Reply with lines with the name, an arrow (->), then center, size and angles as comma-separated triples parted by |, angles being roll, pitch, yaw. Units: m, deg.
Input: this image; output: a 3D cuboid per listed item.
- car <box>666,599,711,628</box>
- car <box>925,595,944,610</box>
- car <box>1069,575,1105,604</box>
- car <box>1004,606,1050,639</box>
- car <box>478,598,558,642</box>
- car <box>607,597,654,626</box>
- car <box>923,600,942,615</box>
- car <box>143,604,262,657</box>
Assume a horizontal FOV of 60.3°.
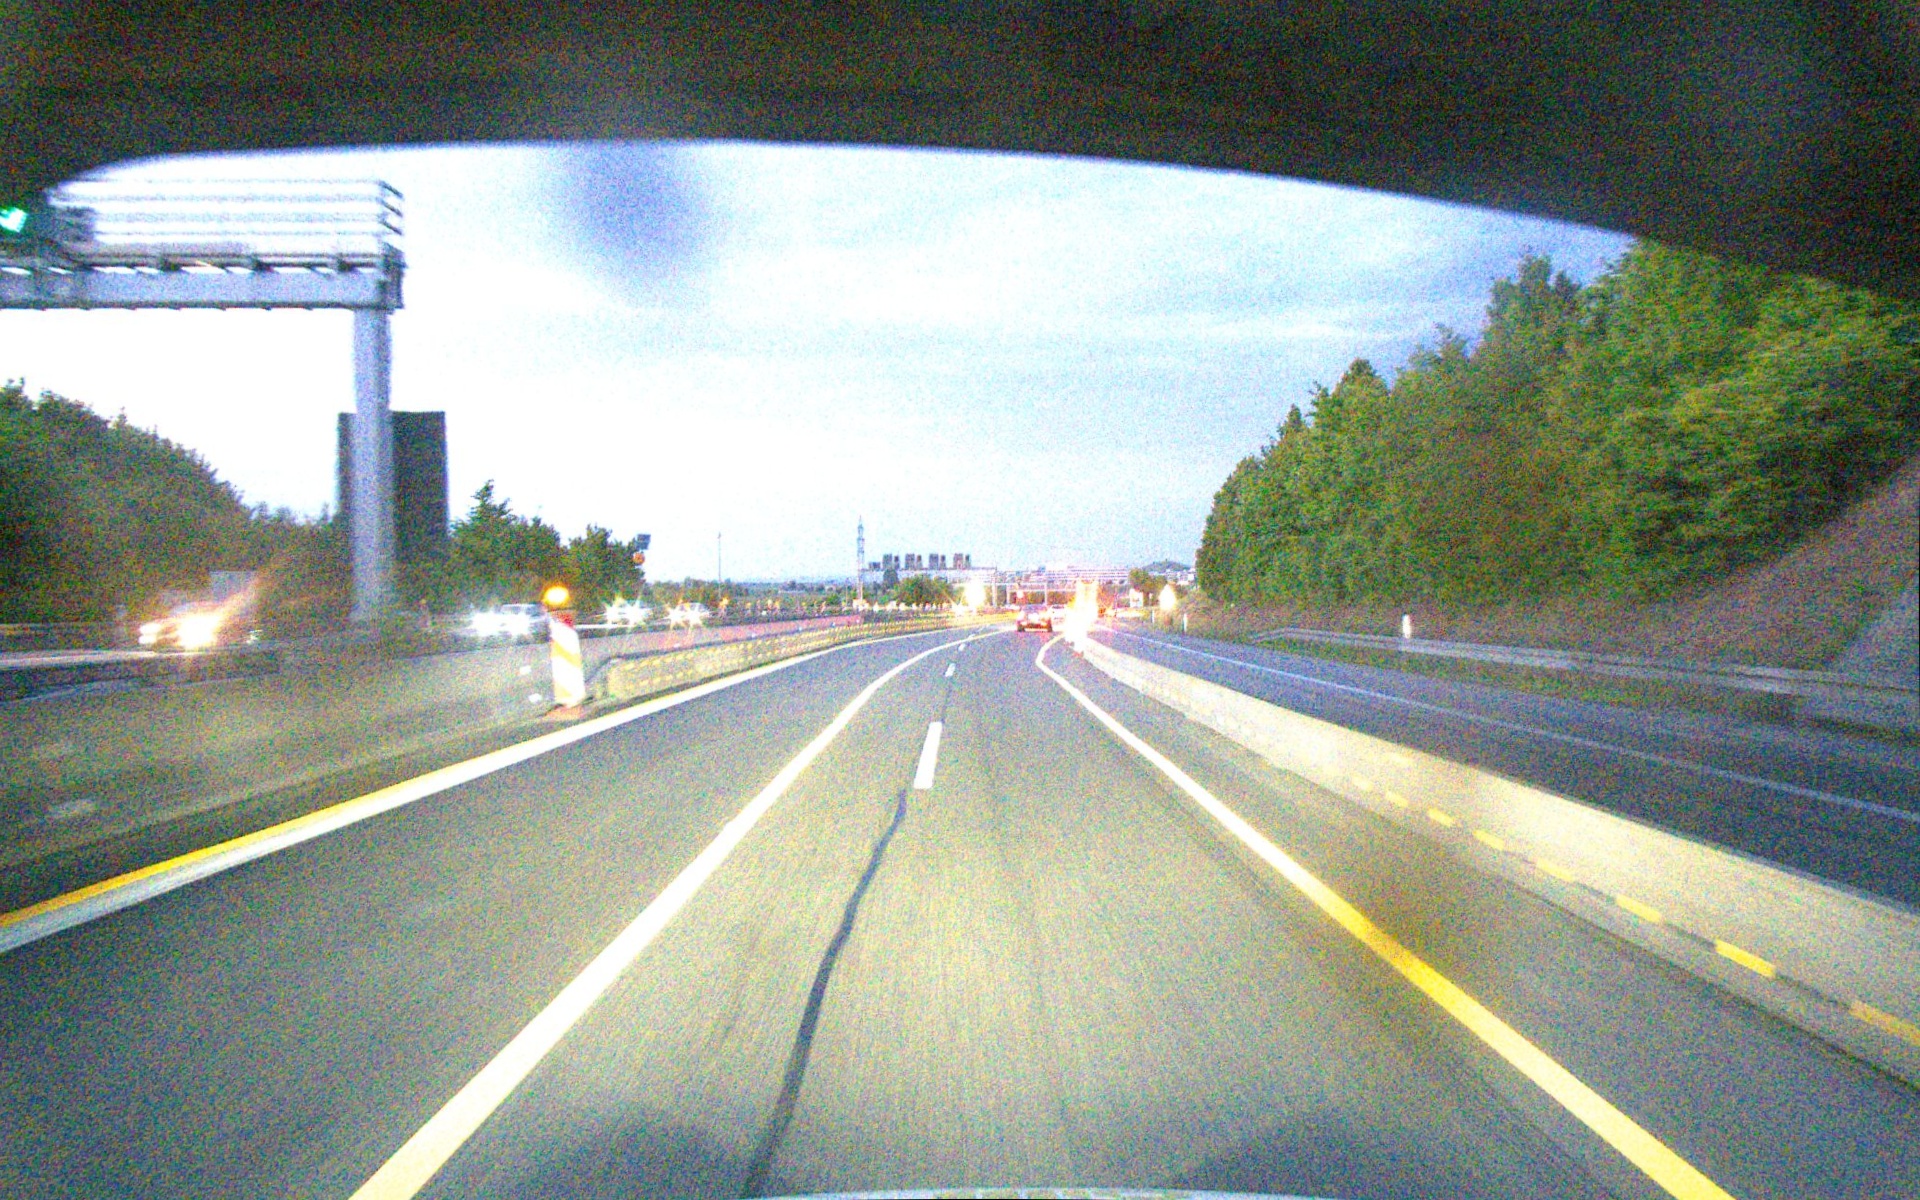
car -> -17.117, 0.842, 104.535 | 1.792, 1.690, 4.843 | 2, 0, 2
car -> -3.224, 0.329, 206.944 | 1.951, 1.860, 4.002 | 2, 0, 4
car -> 15.642, -1.264, 204.492 | 3.533, 3.455, 8.010 | 2, 0, -2
car -> 3.544, 1.161, 87.958 | 2.219, 1.649, 4.000 | 2, 0, 0
car -> -18.422, 0.818, 69.110 | 1.792, 1.690, 4.843 | 2, 0, 2
car -> -20.774, 0.724, 104.410 | 1.867, 1.744, 3.945 | 2, 0, 3
car -> -3.295, 0.898, 199.807 | 1.951, 1.744, 4.002 | 2, 0, 4
car -> -22.700, 0.877, 49.718 | 1.667, 1.481, 3.931 | 2, 0, 1
